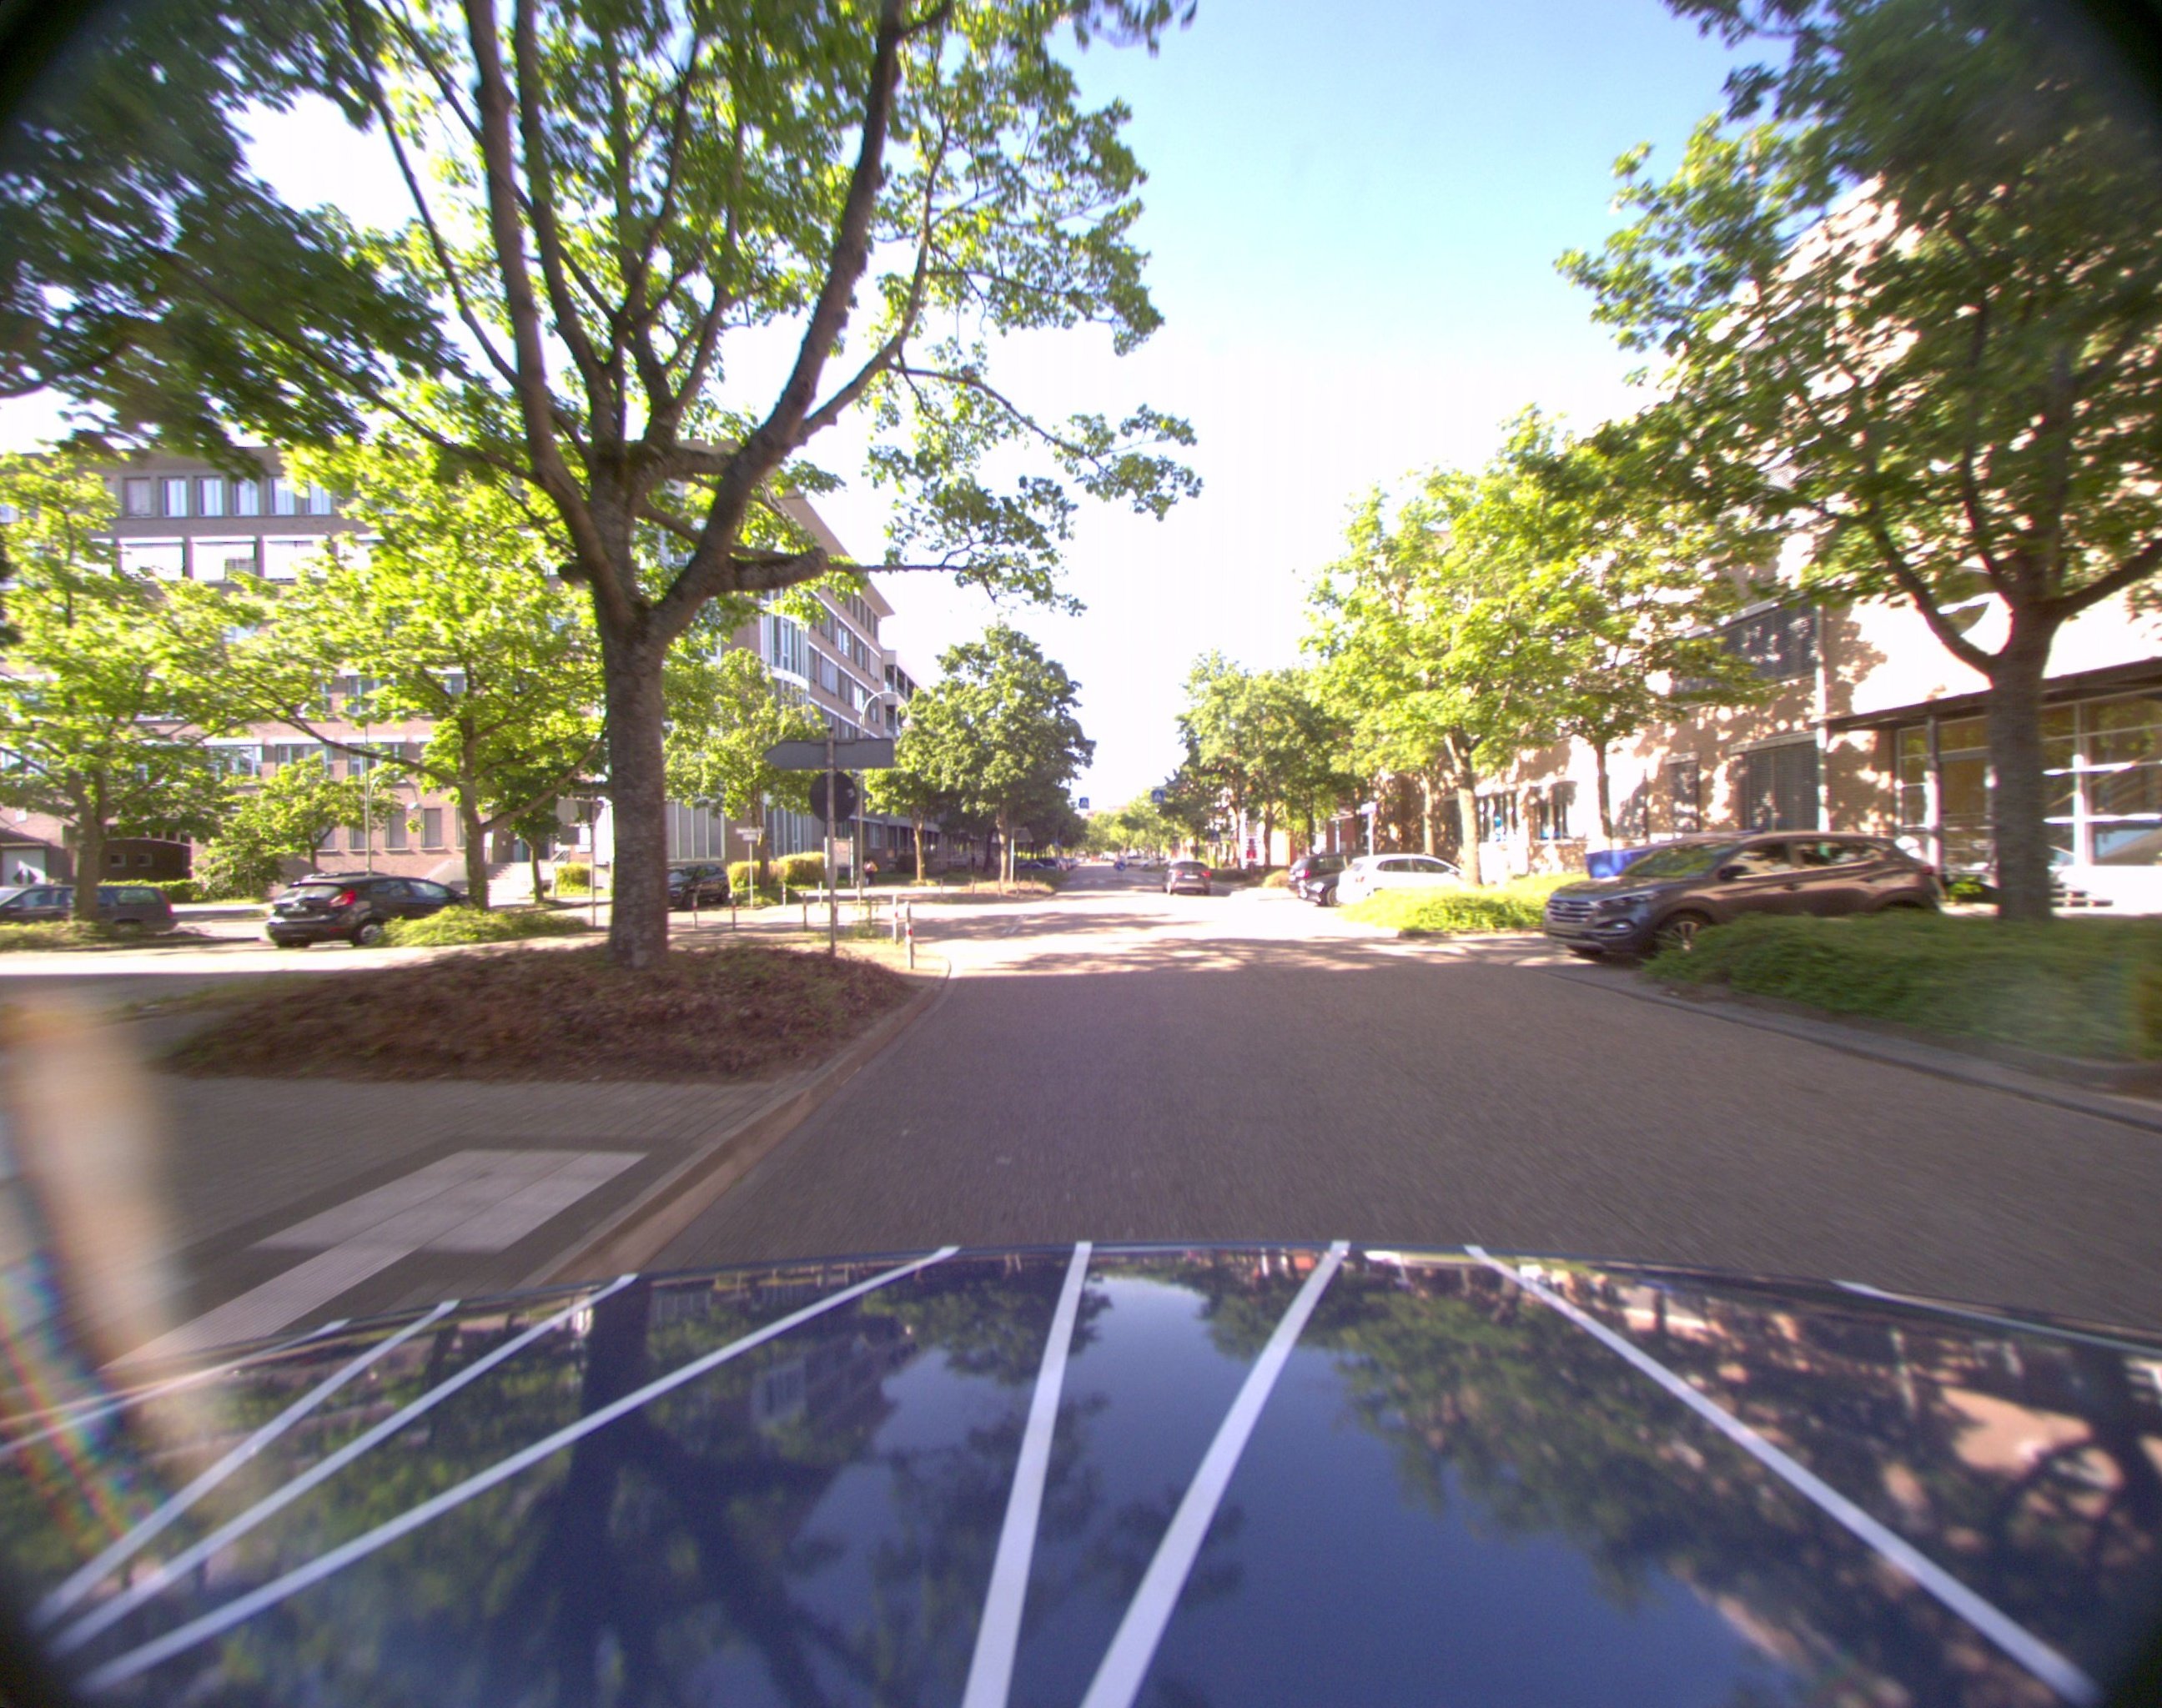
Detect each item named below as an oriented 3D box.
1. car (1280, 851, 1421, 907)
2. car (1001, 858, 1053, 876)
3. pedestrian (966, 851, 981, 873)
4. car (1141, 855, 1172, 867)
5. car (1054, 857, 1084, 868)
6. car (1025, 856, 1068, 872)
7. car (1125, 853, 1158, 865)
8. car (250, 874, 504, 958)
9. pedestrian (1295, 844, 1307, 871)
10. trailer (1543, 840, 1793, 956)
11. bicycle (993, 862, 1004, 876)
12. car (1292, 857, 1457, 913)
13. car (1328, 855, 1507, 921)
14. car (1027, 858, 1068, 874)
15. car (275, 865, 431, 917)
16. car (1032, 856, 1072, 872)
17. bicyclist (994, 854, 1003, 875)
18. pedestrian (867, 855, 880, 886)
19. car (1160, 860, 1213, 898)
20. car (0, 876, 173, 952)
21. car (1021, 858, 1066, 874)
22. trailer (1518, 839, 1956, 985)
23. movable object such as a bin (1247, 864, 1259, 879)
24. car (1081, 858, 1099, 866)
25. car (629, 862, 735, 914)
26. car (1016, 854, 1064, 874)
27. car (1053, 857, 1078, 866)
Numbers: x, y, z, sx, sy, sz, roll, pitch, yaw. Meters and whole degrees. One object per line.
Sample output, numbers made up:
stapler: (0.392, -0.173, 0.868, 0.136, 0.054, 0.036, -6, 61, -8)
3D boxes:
car: (8.828, 0.794, 25.130, 3.997, 1.561, 1.728, -3, 0, 0)
car: (-4.351, 1.018, 61.718, 4.127, 1.362, 1.654, 1, 0, -3)
pedestrian: (-8.981, 0.636, 63.659, 1.037, 1.788, 1.018, -2, 1, 0)
car: (9.914, 0.938, 99.951, 4.003, 1.411, 1.618, -2, 0, 0)
car: (-1.654, 1.081, 101.861, 3.916, 1.374, 1.587, 1, 1, -3)
car: (-3.332, 0.973, 73.596, 4.136, 1.508, 1.836, 0, 0, -3)
car: (9.738, 0.806, 122.426, 5.317, 1.875, 2.000, 0, 0, 2)
car: (-14.422, 1.191, 15.916, 1.656, 1.453, 3.917, -1, -1, 0)
pedestrian: (16.664, 0.280, 57.568, 0.623, 1.911, 0.671, -2, 13, 2)
trailer: (9.536, 0.681, 12.532, 2.732, 1.677, 1.712, -2, 0, 1)
bicycle: (-6.283, 1.128, 57.875, 0.535, 1.072, 1.920, -1, 0, 2)
car: (8.595, 0.879, 22.508, 4.162, 1.394, 1.801, -3, 0, 0)
car: (8.552, 0.839, 19.543, 3.763, 1.444, 1.754, -3, 0, 2)
car: (-3.393, 1.172, 77.063, 3.996, 1.575, 1.714, 0, 0, 2)
car: (-27.366, 1.337, 28.757, 1.702, 1.576, 4.000, -1, 3, 7)
car: (-3.035, 1.061, 80.002, 4.136, 1.657, 1.907, -1, 0, -3)
bicyclist: (-6.287, 0.807, 58.012, 0.538, 1.627, 0.822, -1, 0, 2)
pedestrian: (-10.678, 0.855, 39.043, 0.539, 1.573, 0.648, -1, 0, -9)
car: (4.491, 1.017, 32.962, 1.784, 1.502, 4.000, -1, 0, 1)
car: (-22.575, 1.258, 15.977, 1.693, 1.452, 4.273, -1, 0, 4)
car: (-3.463, 1.095, 70.676, 4.136, 1.452, 1.660, 1, 0, -3)
trailer: (8.472, 0.692, 10.090, 4.272, 1.563, 1.856, -2, 0, -3)
movable object such as a bin: (8.475, 0.862, 37.477, 0.442, 0.727, 0.409, -2, 1, 29)
car: (1.729, 1.587, 148.400, 3.554, 1.544, 1.743, 1, -2, -2)
car: (-14.735, 1.209, 28.368, 1.743, 1.557, 4.363, -2, 2, -3)
car: (-3.580, 0.871, 66.432, 4.136, 1.581, 1.659, 1, 1, -3)
car: (-2.550, 1.169, 124.568, 3.998, 1.470, 1.804, 0, 0, -2)
